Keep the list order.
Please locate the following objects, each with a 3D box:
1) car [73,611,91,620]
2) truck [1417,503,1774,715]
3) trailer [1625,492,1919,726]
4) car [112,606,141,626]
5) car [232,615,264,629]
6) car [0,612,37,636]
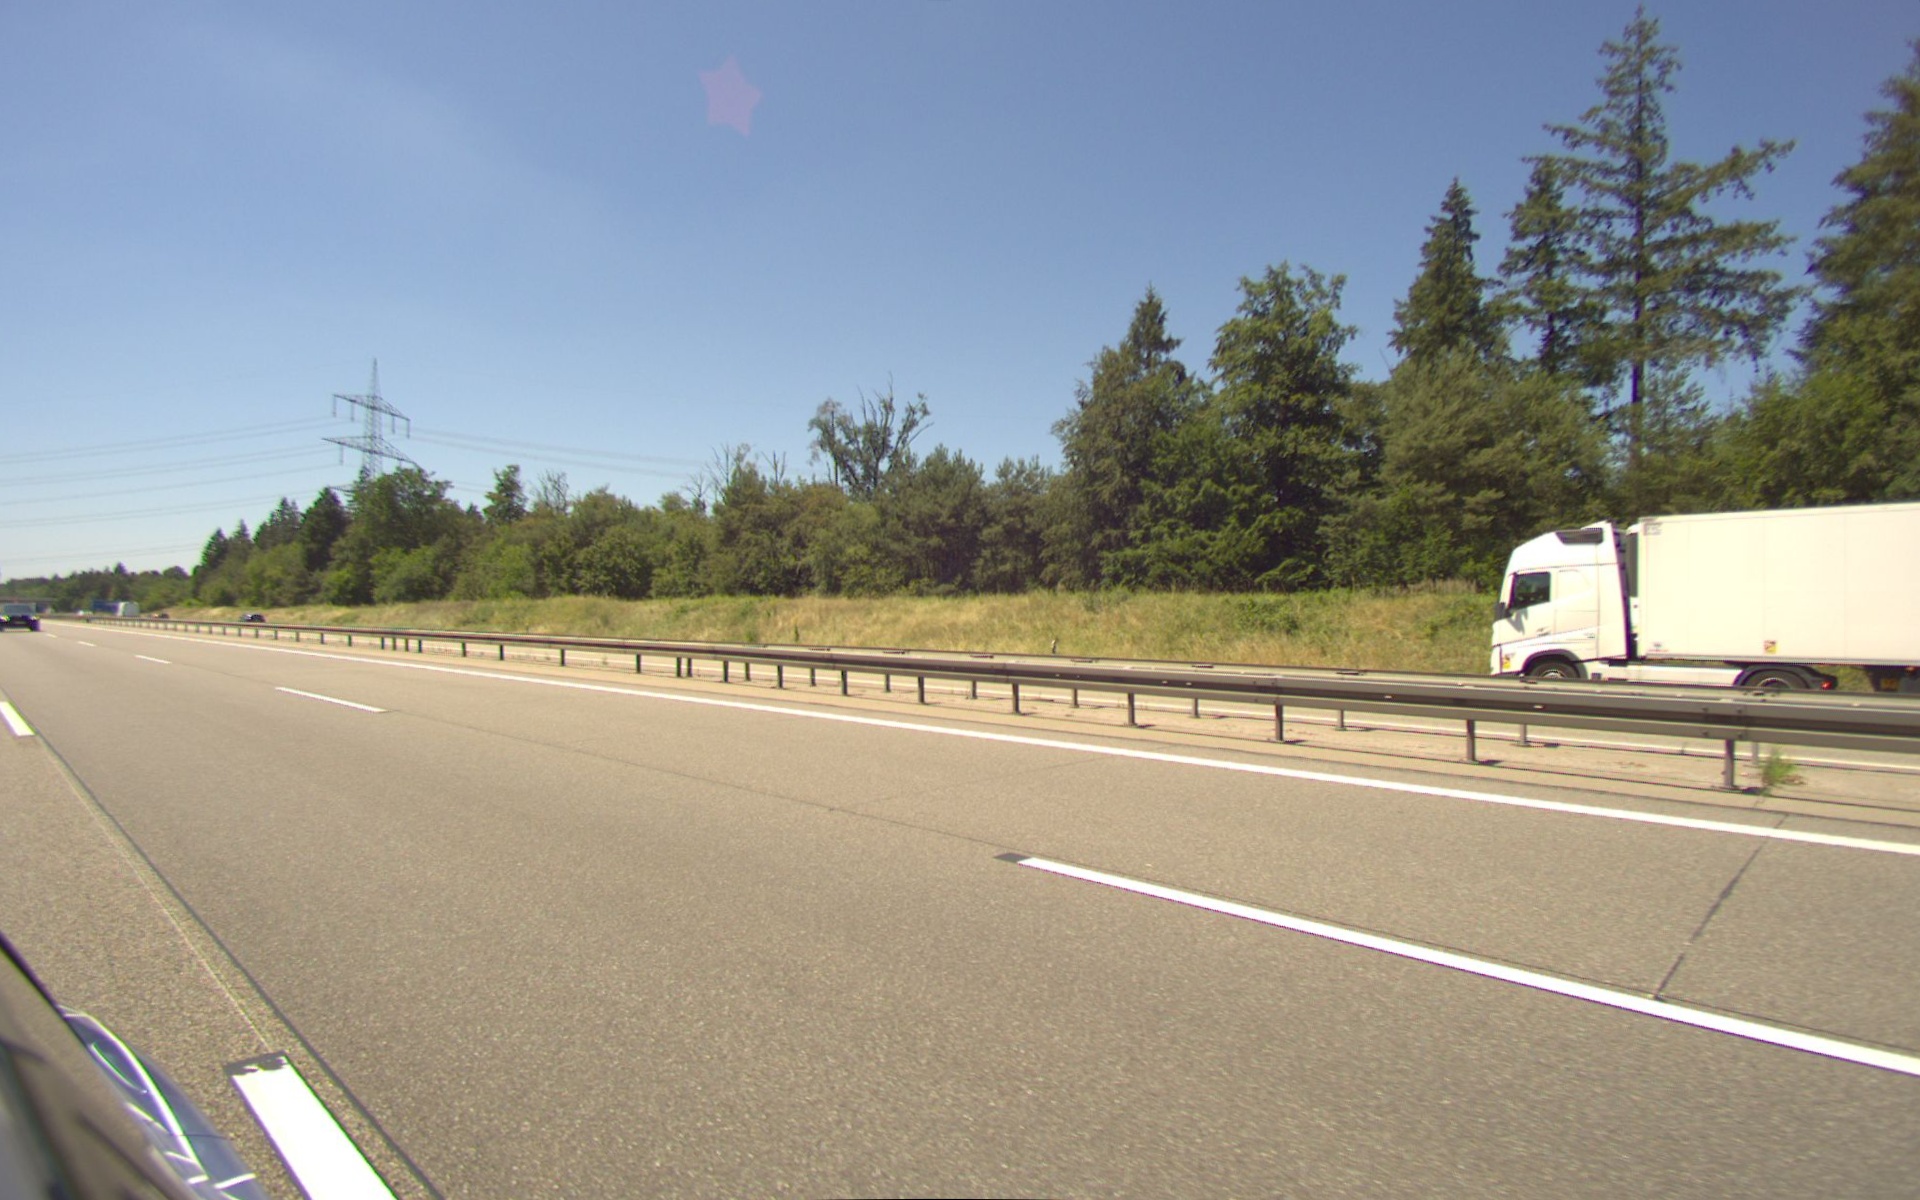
[{"bbox_3d":[-140.299,2.541,161.731,4.677,1.402,1.672,-1,-4,44],"label":"car"},{"bbox_3d":[14.045,0.202,22.691,3.177,4.048,6.220,1,-1,-44],"label":"truck"},{"bbox_3d":[19.783,0.151,16.702,3.177,4.073,14.372,1,-1,-44],"label":"trailer"},{"bbox_3d":[-120.883,2.353,146.746,6.875,2.732,2.317,-1,-4,44],"label":"car"},{"bbox_3d":[-75.853,2.331,107.801,4.743,1.521,1.807,-1,-2,42],"label":"car"},{"bbox_3d":[-59.490,1.484,63.742,1.872,1.436,4.265,0,0,-44],"label":"car"}]
